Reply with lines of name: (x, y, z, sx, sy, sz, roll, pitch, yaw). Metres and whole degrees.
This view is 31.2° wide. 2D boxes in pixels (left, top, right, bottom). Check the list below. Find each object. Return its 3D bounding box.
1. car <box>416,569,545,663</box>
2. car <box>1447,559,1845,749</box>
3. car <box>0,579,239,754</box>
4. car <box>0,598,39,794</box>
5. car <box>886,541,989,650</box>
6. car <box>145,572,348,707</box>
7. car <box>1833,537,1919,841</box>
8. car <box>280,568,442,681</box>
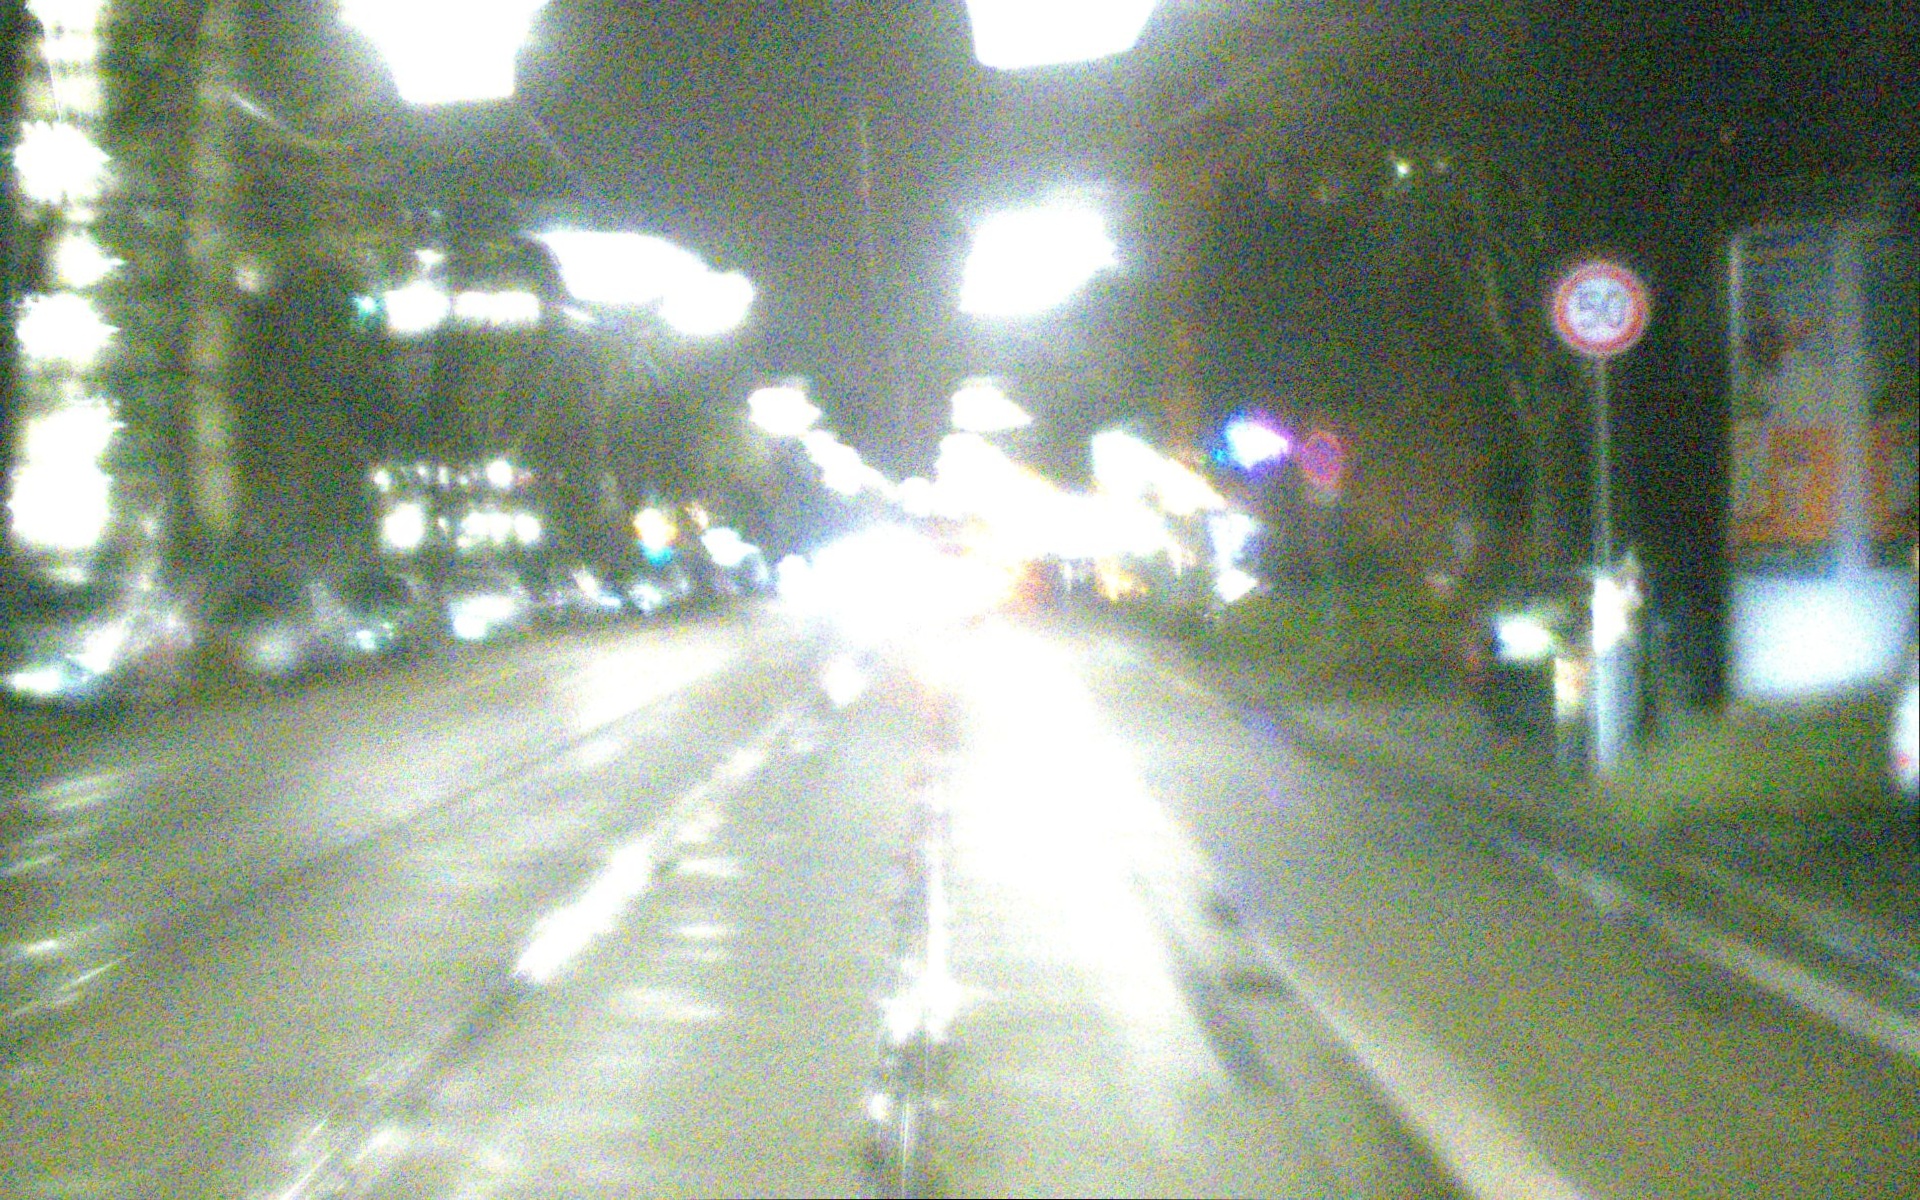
car: (-9.638, 0.328, 69.382, 2.022, 1.755, 4.000, 2, 0, -1)
car: (6.297, 0.477, 31.276, 1.909, 1.567, 3.953, 2, 0, 39)
car: (-9.462, 0.706, 38.286, 1.999, 1.779, 4.000, 2, 0, -1)
car: (-9.621, 0.829, 29.794, 2.108, 1.758, 4.966, 2, 0, -3)
car: (-0.570, -0.125, 80.474, 2.216, 2.433, 5.385, 1, 0, -2)
car: (-10.044, 0.541, 48.696, 2.022, 1.755, 4.000, 2, 0, -1)
car: (6.705, 0.516, 18.942, 1.909, 1.567, 3.952, 2, 0, 44)
car: (-10.066, 0.413, 58.054, 2.022, 1.755, 4.000, 2, 0, -1)
